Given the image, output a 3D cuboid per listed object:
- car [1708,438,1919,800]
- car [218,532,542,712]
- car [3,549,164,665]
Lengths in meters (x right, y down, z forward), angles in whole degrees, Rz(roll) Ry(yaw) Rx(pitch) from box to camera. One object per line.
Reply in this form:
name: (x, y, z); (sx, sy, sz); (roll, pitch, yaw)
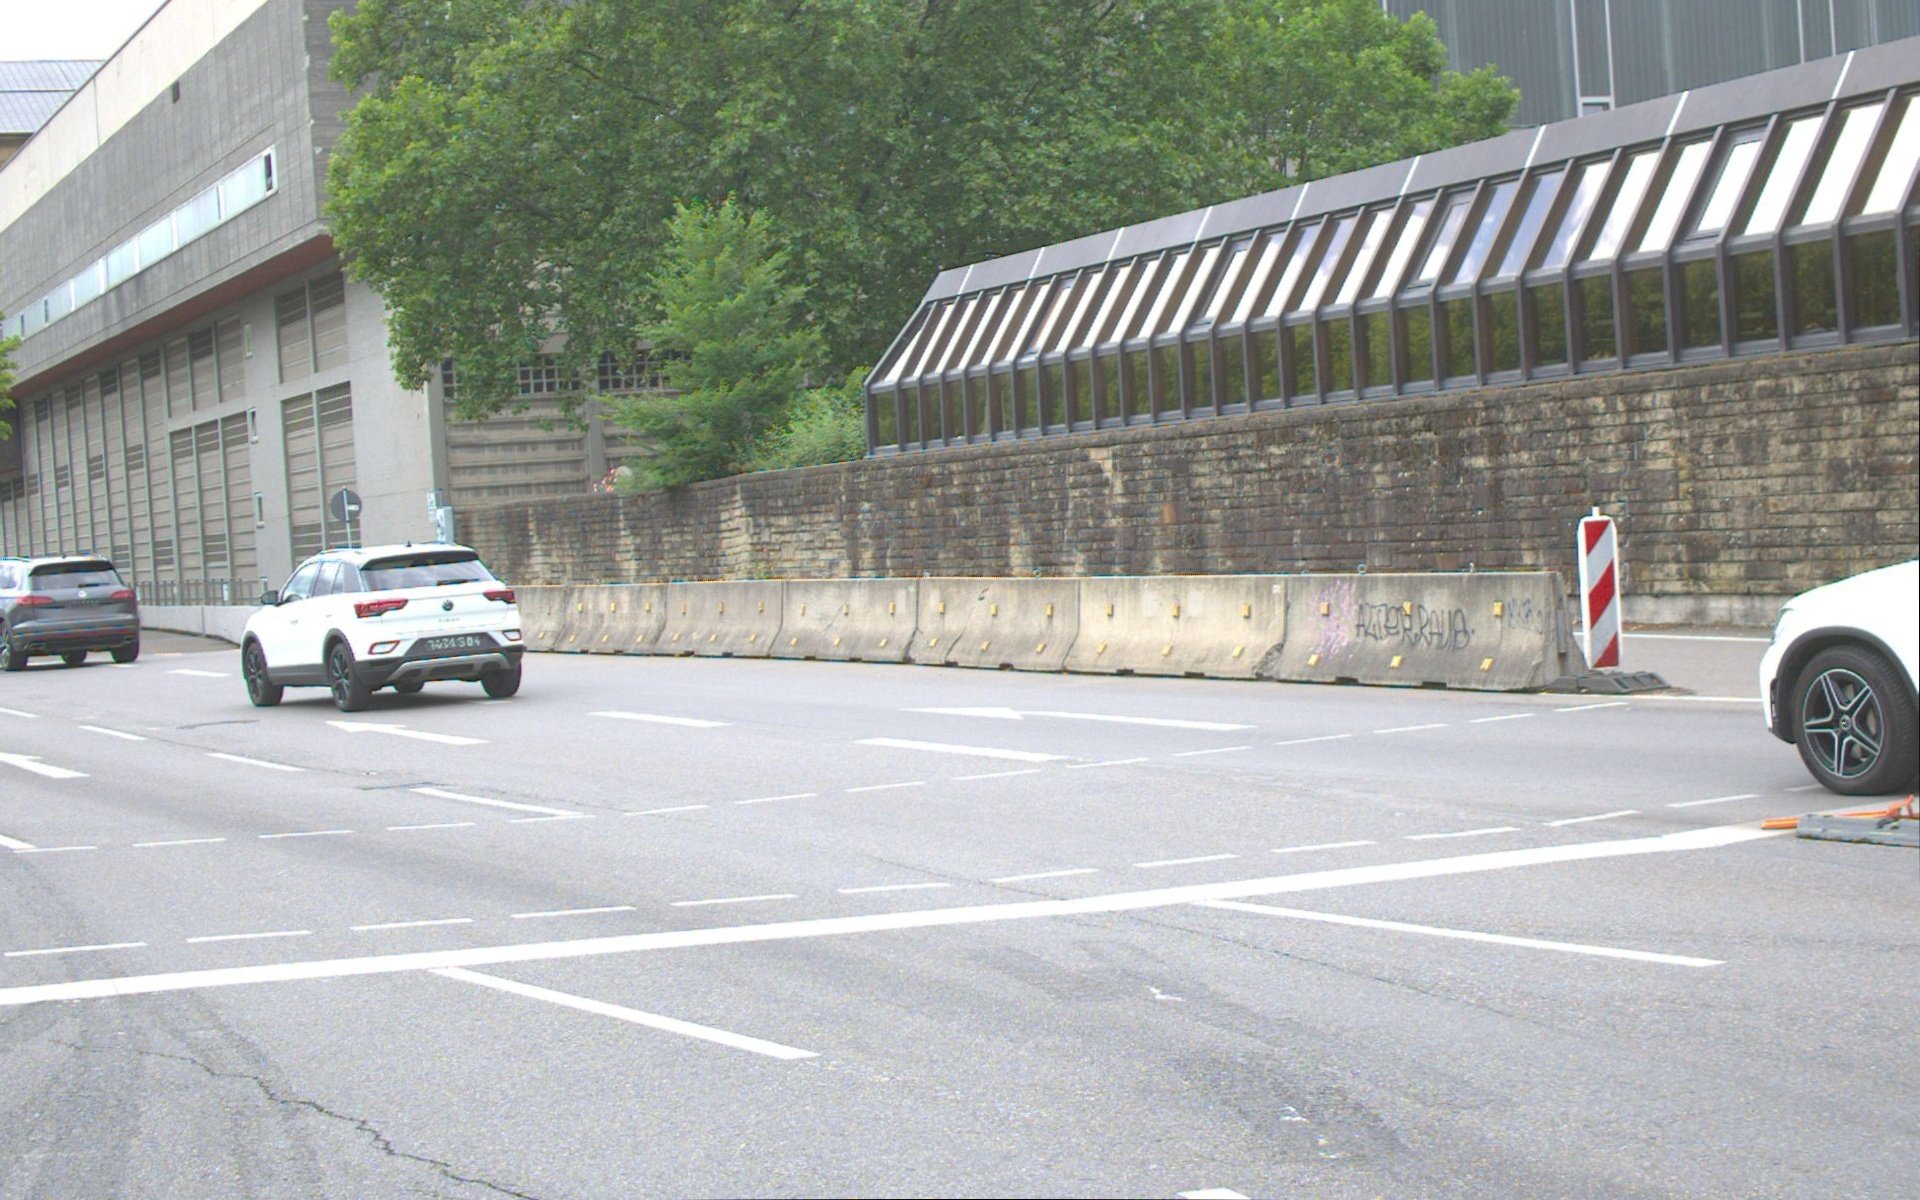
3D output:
car: (5.758, 0.015, 15.473); (1.812, 1.637, 4.551); (-6, 3, -35)
car: (-5.890, 0.194, 34.511); (1.751, 1.562, 4.331); (-6, 3, -29)
car: (-13.308, 0.070, 52.415); (1.823, 1.562, 4.481); (-4, 1, -9)
